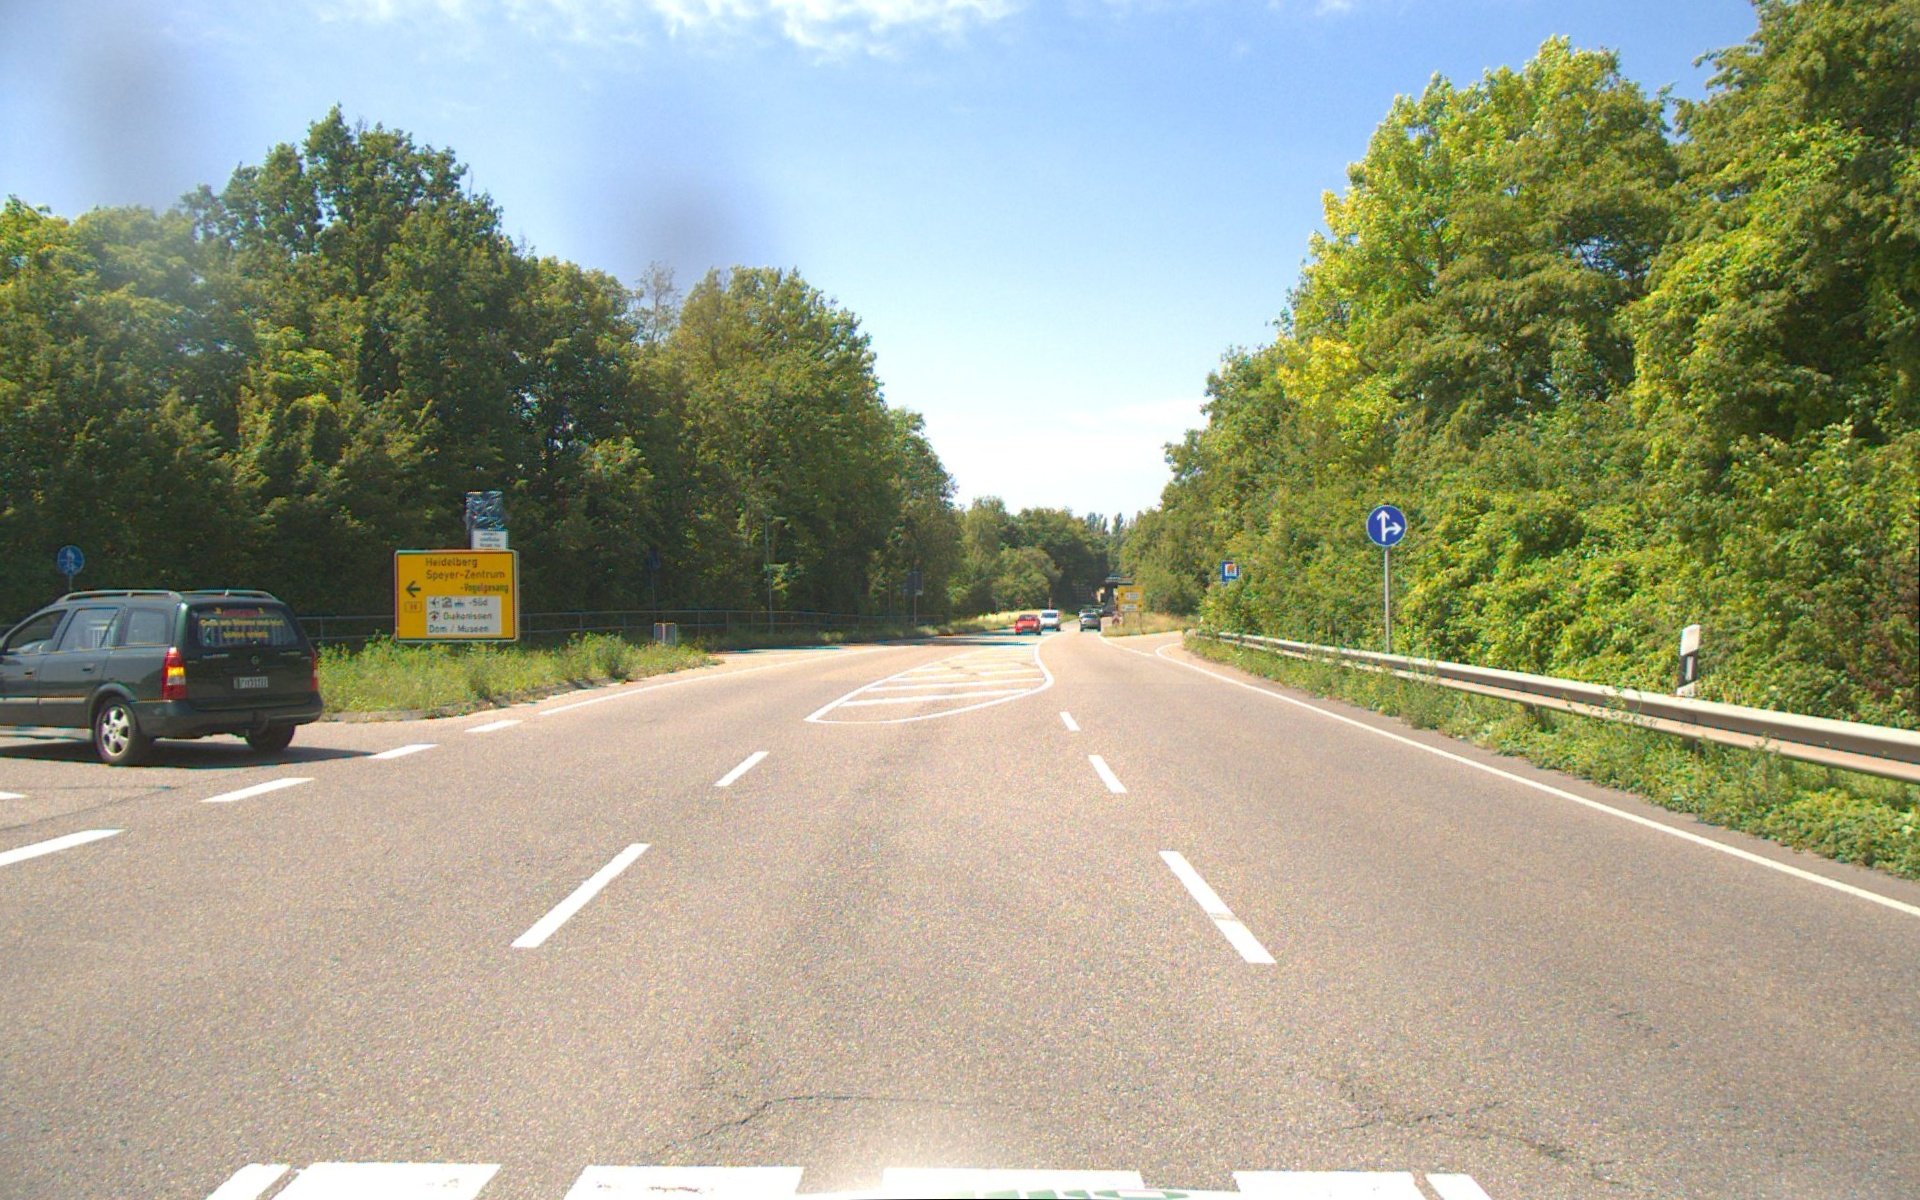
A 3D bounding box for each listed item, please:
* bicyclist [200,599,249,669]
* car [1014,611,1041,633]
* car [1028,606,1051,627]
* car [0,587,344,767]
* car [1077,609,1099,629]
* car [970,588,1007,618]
[{"bbox_3d":[-14.740,0.682,33.144,0.597,1.387,0.687,-1,-1,36],"label":"bicyclist"},{"bbox_3d":[4.782,1.548,116.180,1.772,1.483,3.760,0,0,4],"label":"car"},{"bbox_3d":[7.002,1.407,145.485,1.952,1.760,4.276,-1,0,3],"label":"car"},{"bbox_3d":[-7.682,0.672,15.293,3.713,1.482,1.723,-1,-1,29],"label":"car"},{"bbox_3d":[11.077,1.636,143.608,1.805,1.714,4.002,0,1,3],"label":"car"},{"bbox_3d":[3.088,0.315,178.802,1.971,3.282,4.763,0,0,-29],"label":"car"}]
